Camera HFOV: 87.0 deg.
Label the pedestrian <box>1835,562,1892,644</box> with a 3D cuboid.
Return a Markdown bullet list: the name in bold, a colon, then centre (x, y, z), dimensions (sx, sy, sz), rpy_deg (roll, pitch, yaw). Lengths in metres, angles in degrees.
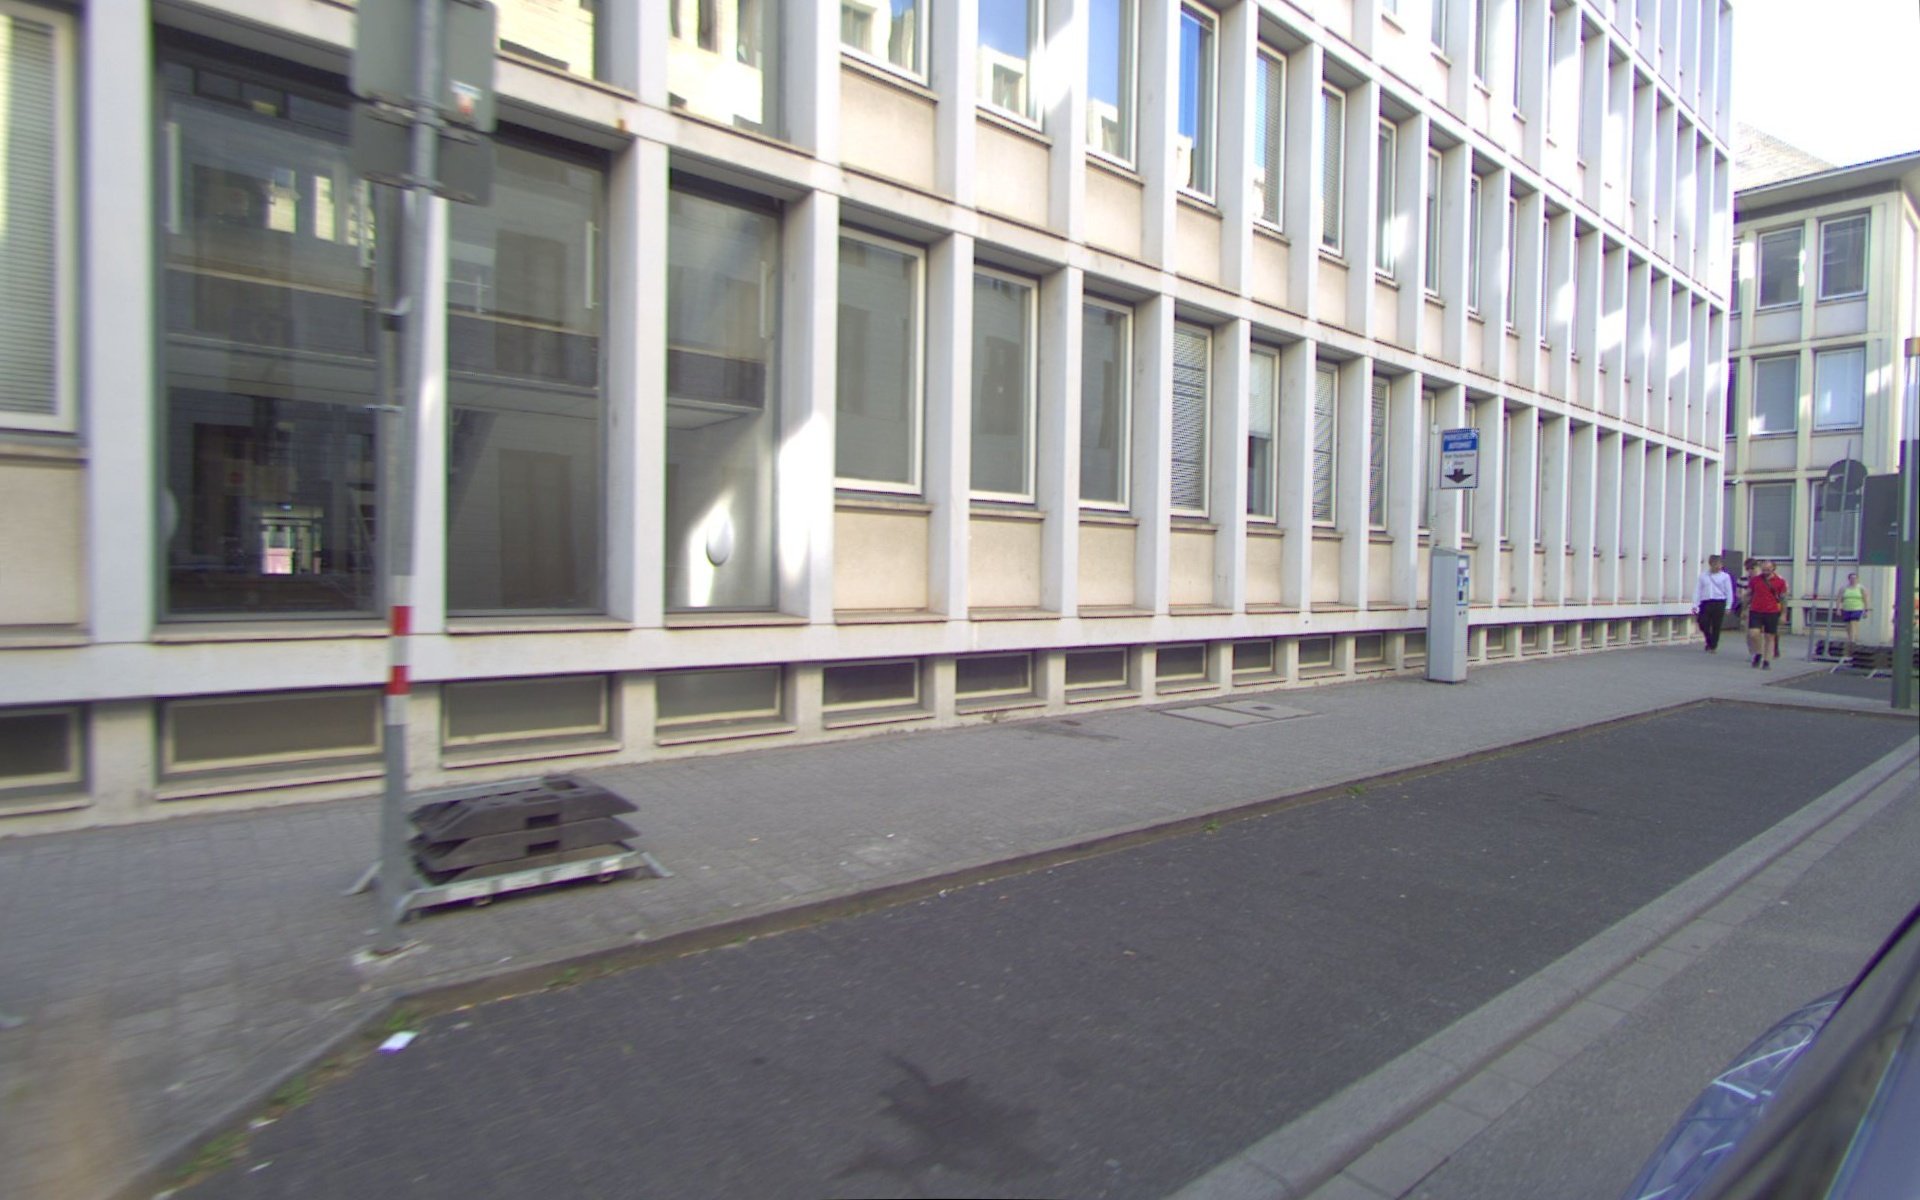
- **pedestrian**: centre (20.061, 0.055, 22.480), dimensions (0.681, 1.735, 0.685), rpy_deg (0, 5, -38)

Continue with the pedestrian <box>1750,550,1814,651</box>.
- **pedestrian**: centre (15.181, 0.000, 18.691), dimensions (0.681, 1.800, 0.685), rpy_deg (0, 4, -38)

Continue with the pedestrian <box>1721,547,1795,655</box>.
- **pedestrian**: centre (14.053, 0.003, 17.822), dimensions (0.681, 1.798, 0.686), rpy_deg (0, 7, -38)

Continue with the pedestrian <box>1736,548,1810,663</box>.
- **pedestrian**: centre (13.299, 0.077, 16.561), dimensions (0.582, 1.799, 0.685), rpy_deg (0, 5, -38)

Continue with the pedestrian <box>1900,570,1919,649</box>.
- **pedestrian**: centre (20.731, 0.216, 21.660), dimensions (0.681, 1.656, 0.685), rpy_deg (0, 5, -38)

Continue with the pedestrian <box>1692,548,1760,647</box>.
- **pedestrian**: centre (14.624, -0.066, 19.336), dimensions (0.681, 1.798, 0.686), rpy_deg (0, 7, -38)
